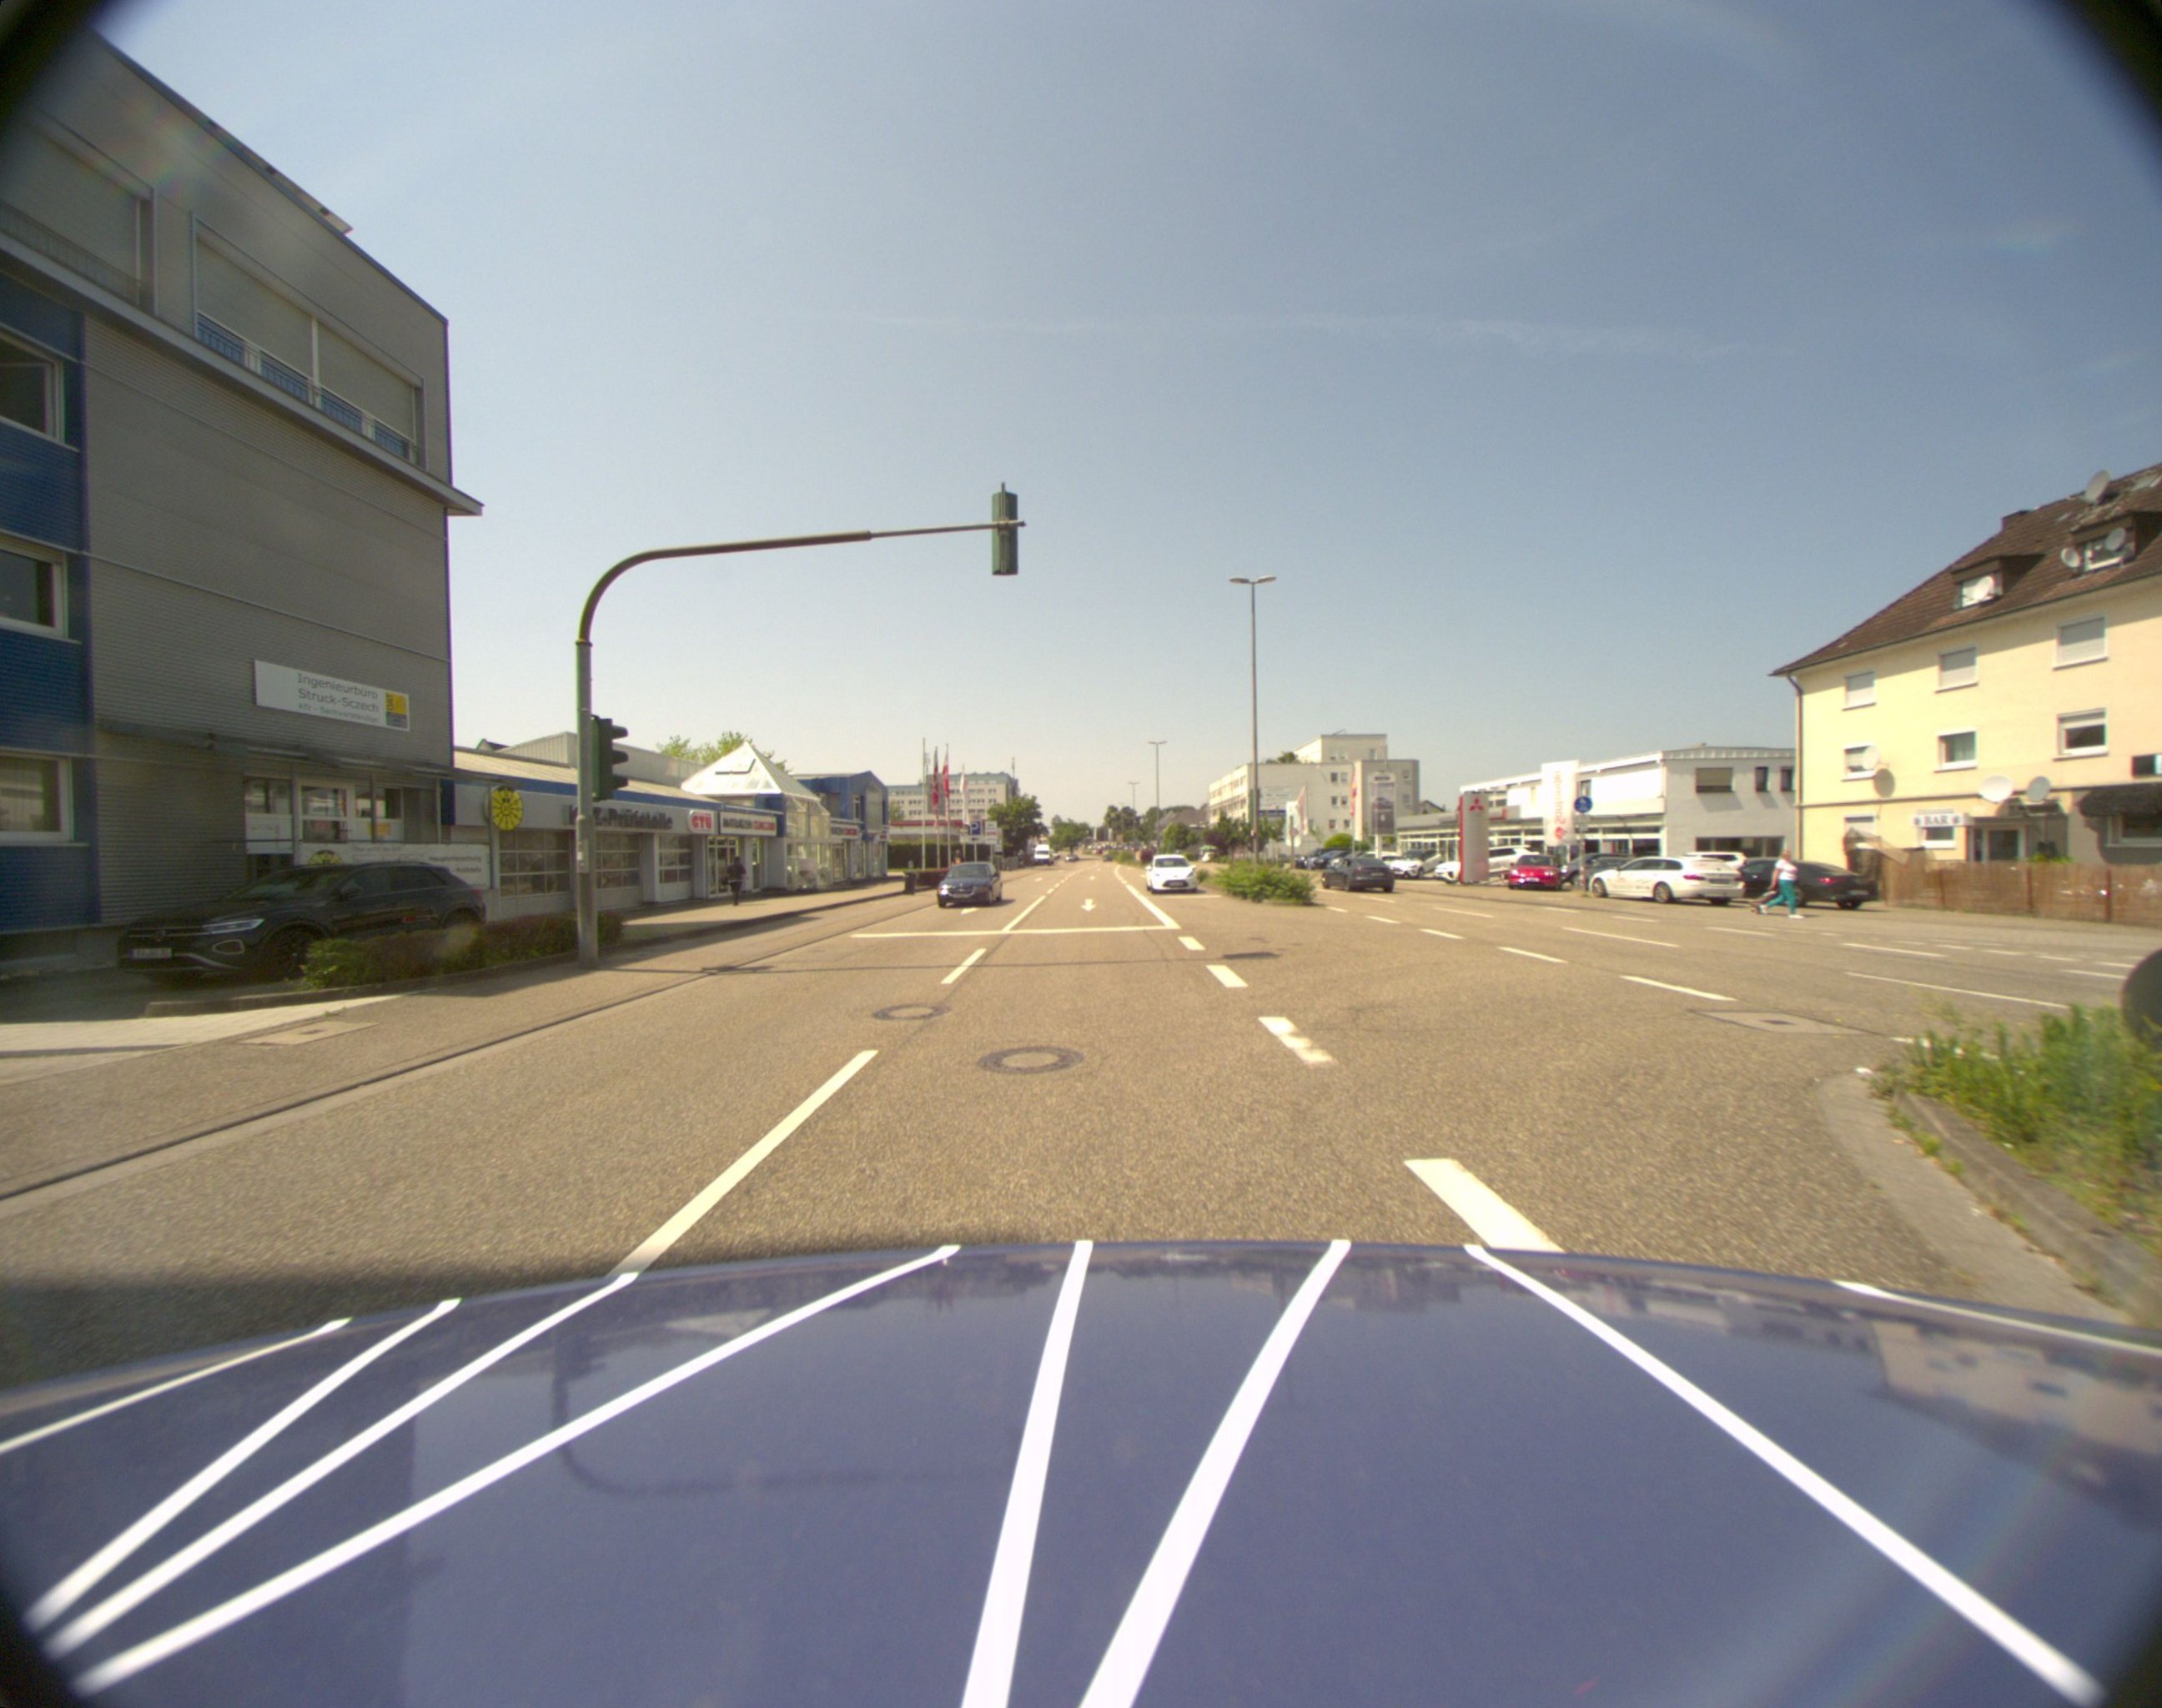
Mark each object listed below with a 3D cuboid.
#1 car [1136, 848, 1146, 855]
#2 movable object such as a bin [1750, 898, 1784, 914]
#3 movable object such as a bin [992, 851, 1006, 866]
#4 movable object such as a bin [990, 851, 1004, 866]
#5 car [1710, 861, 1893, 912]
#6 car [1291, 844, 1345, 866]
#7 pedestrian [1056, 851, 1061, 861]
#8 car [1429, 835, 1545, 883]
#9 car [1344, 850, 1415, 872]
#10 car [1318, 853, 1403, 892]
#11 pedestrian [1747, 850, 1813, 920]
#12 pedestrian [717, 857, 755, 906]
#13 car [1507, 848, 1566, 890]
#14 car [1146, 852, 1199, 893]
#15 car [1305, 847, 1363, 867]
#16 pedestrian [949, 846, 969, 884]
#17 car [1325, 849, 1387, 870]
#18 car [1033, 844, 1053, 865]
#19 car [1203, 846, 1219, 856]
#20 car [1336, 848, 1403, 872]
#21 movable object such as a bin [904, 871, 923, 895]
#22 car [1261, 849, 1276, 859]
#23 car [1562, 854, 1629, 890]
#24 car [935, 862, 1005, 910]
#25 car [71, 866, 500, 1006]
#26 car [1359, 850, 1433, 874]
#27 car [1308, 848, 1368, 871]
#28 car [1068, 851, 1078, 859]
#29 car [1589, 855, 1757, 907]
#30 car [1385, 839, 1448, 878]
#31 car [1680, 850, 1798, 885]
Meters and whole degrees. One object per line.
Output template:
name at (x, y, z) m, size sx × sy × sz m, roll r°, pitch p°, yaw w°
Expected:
car at (13.388, -0.520, 170.255) m, size 1.832 × 1.452 × 4.711 m, roll 0°, pitch 1°, yaw 0°
movable object such as a bin at (17.808, 1.357, 19.734) m, size 0.417 × 0.370 × 0.506 m, roll 0°, pitch 1°, yaw 2°
movable object such as a bin at (-8.074, 0.423, 74.690) m, size 1.133 × 1.461 × 1.489 m, roll 0°, pitch 1°, yaw 2°
movable object such as a bin at (-8.105, 0.440, 73.085) m, size 1.133 × 1.461 × 1.489 m, roll 0°, pitch 1°, yaw 2°
car at (21.761, 0.920, 23.195) m, size 1.737 × 1.343 × 3.999 m, roll 0°, pitch 1°, yaw -2°
car at (20.222, 0.070, 65.063) m, size 3.997 × 1.871 × 2.000 m, roll 0°, pitch 1°, yaw 0°
pedestrian at (-3.702, 0.260, 123.119) m, size 0.704 × 1.572 × 0.820 m, roll 2°, pitch 1°, yaw -2°
car at (19.746, 0.239, 37.086) m, size 4.557 × 1.700 × 1.760 m, roll -7°, pitch 1°, yaw 2°
car at (19.833, 0.467, 50.577) m, size 3.997 × 1.386 × 1.860 m, roll 0°, pitch 1°, yaw 0°
car at (11.659, 0.714, 32.035) m, size 1.998 × 1.477 × 4.501 m, roll 0°, pitch 1°, yaw 1°
pedestrian at (17.840, 0.767, 19.424) m, size 0.742 × 1.737 × 1.033 m, roll 0°, pitch 1°, yaw 3°
pedestrian at (-11.592, 0.905, 25.542) m, size 0.812 × 1.617 × 0.853 m, roll 0°, pitch 0°, yaw 4°
car at (19.770, 0.594, 32.892) m, size 1.835 × 1.633 × 4.187 m, roll 0°, pitch 1°, yaw 36°
car at (3.485, 0.676, 29.496) m, size 1.693 × 1.426 × 3.711 m, roll -1°, pitch 1°, yaw 1°
car at (20.673, 0.200, 62.169) m, size 3.997 × 1.599 × 2.089 m, roll 0°, pitch 1°, yaw 0°
pedestrian at (-5.999, 0.523, 37.452) m, size 0.787 × 1.836 × 0.936 m, roll 0°, pitch 1°, yaw 3°
car at (20.316, 0.406, 56.222) m, size 3.997 × 1.559 × 1.759 m, roll 0°, pitch 1°, yaw 0°
car at (-5.039, 0.050, 102.117) m, size 2.183 × 2.758 × 7.277 m, roll 2°, pitch 1°, yaw 0°
car at (19.871, -0.431, 116.345) m, size 1.695 × 1.440 × 3.665 m, roll -2°, pitch 1°, yaw 0°
car at (20.241, 0.423, 53.363) m, size 3.996 × 1.599 × 1.925 m, roll 0°, pitch 1°, yaw 3°
movable object such as a bin at (-6.549, 1.131, 29.713) m, size 0.552 × 0.914 × 0.652 m, roll 2°, pitch 1°, yaw 2°
car at (25.426, 0.025, 102.982) m, size 1.456 × 1.332 × 2.833 m, roll 0°, pitch 1°, yaw 4°
car at (22.315, 0.728, 33.106) m, size 1.647 × 1.418 × 4.006 m, roll 0°, pitch 1°, yaw 22°
car at (-3.511, 0.979, 24.710) m, size 1.632 × 1.331 × 3.756 m, roll -2°, pitch 0°, yaw 1°
car at (-11.262, 1.038, 11.321) m, size 1.848 × 1.522 × 4.196 m, roll -2°, pitch 1°, yaw 1°
car at (19.947, 0.488, 48.193) m, size 3.997 × 1.458 × 1.759 m, roll 0°, pitch 1°, yaw 0°
car at (20.045, 0.447, 59.348) m, size 3.997 × 1.599 × 1.759 m, roll 3°, pitch 1°, yaw 0°
car at (-1.455, 0.170, 145.921) m, size 1.867 × 1.550 × 4.000 m, roll 0°, pitch 0°, yaw 0°
car at (18.555, 0.778, 24.164) m, size 1.780 × 1.402 × 4.759 m, roll 1°, pitch 1°, yaw 3°
car at (20.049, 0.231, 45.343) m, size 4.004 × 1.616 × 1.755 m, roll -12°, pitch 8°, yaw -39°
car at (31.339, 0.609, 36.289) m, size 3.997 × 1.606 × 1.865 m, roll 0°, pitch 1°, yaw 1°
